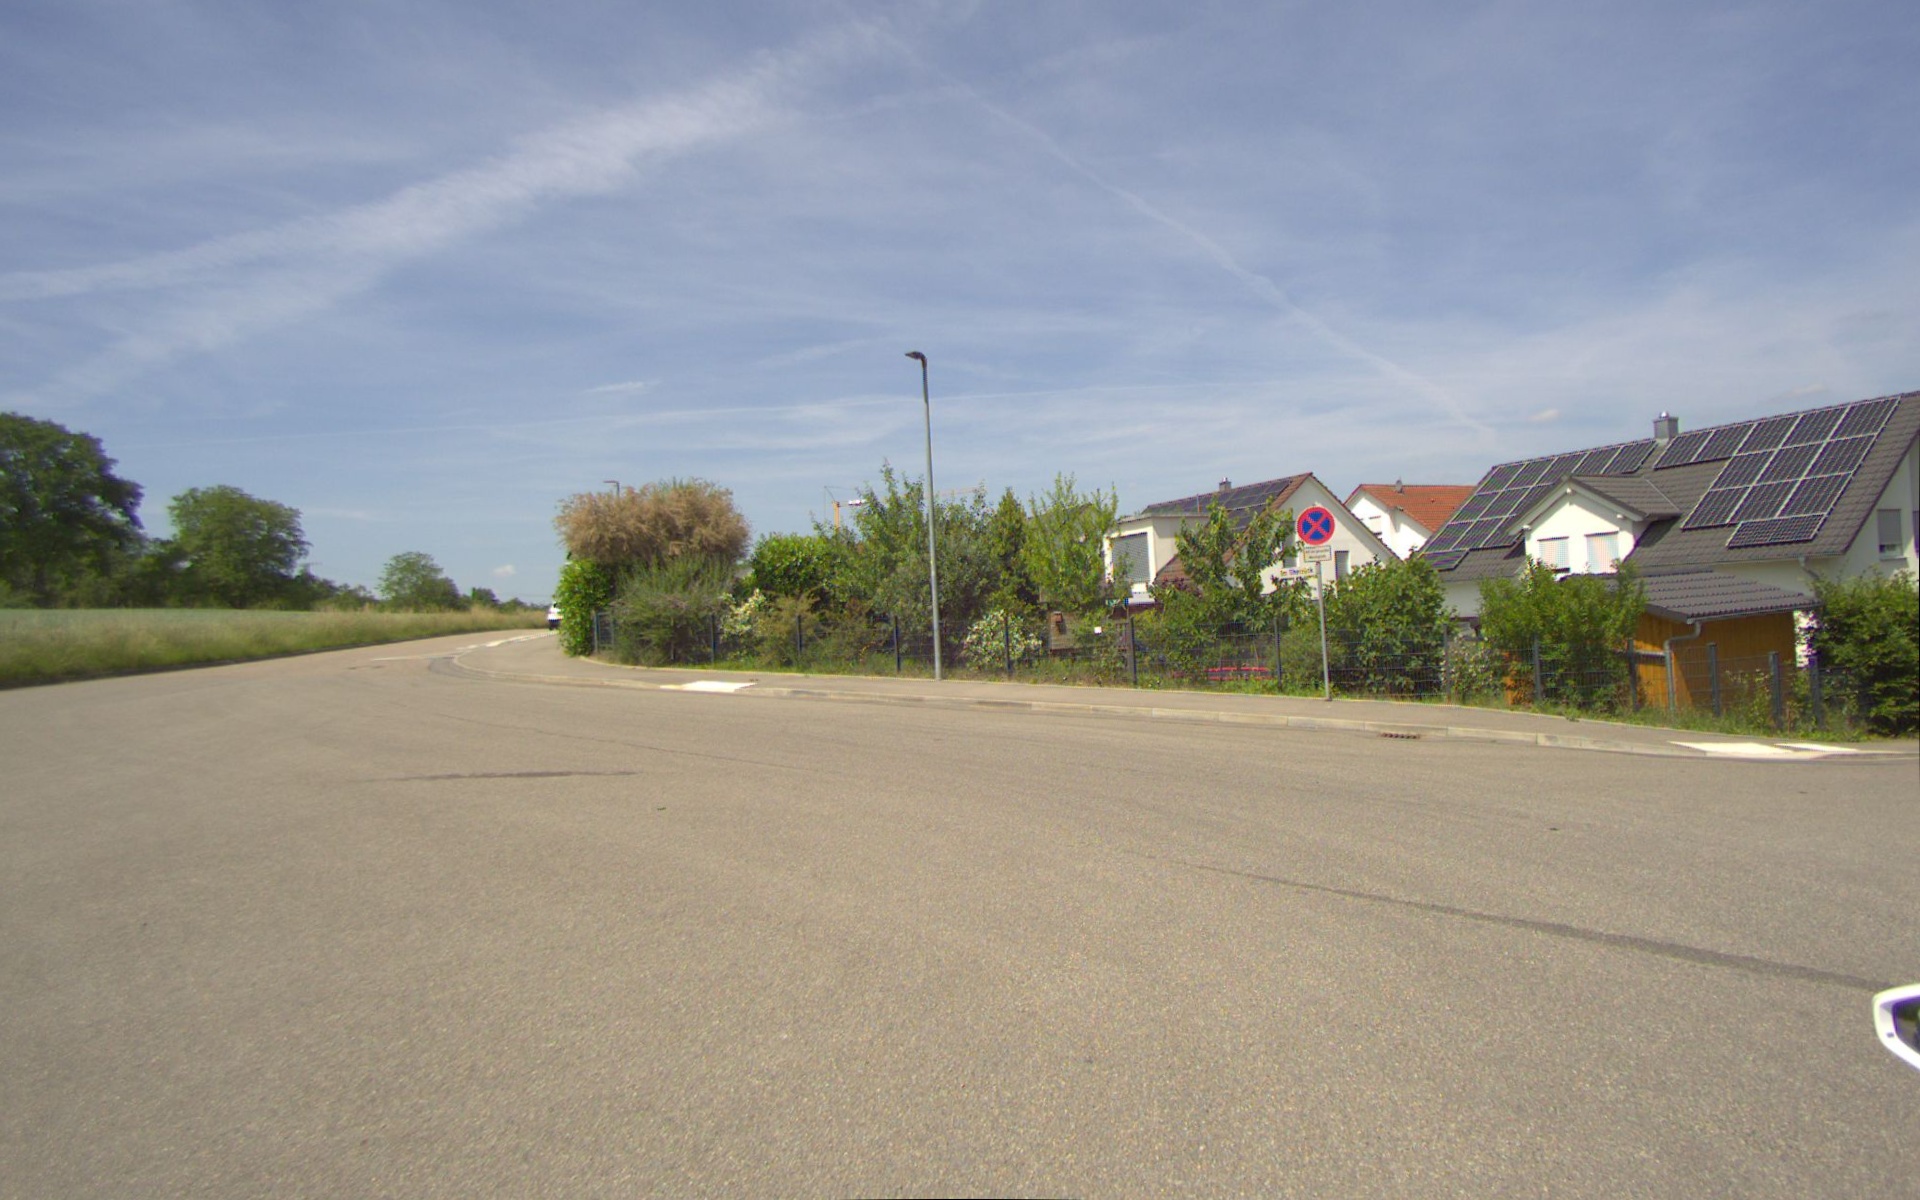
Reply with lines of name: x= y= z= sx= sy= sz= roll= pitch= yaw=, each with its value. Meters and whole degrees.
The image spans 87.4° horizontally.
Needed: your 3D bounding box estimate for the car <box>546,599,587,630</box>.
car: x=-22.808 y=0.825 z=58.348 sx=1.711 sy=1.655 sz=4.338 roll=-2 pitch=0 yaw=-16
